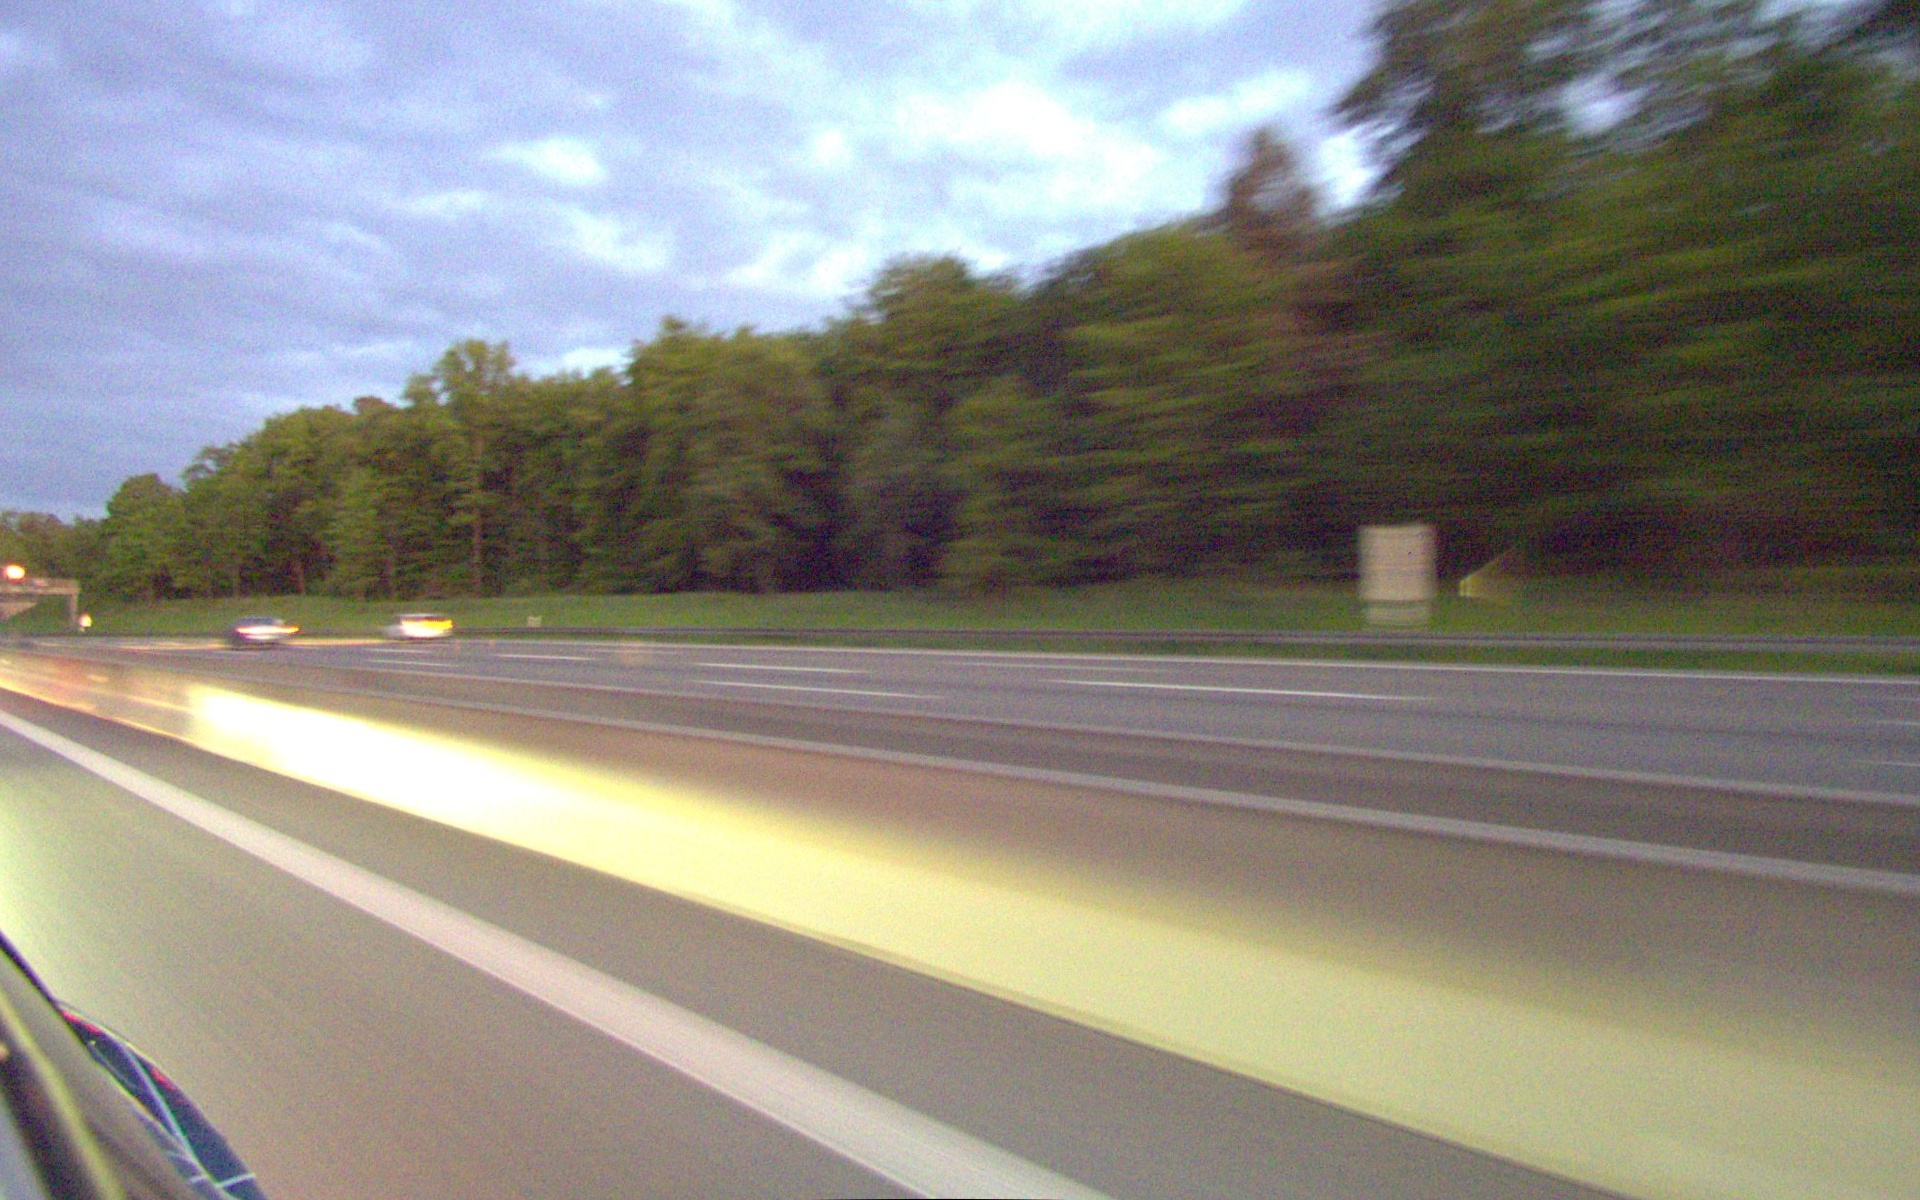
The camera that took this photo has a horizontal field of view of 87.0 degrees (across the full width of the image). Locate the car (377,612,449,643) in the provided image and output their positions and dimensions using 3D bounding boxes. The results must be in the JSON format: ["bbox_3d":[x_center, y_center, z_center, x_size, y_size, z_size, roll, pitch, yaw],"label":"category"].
[{"bbox_3d":[-28.010,1.434,51.802,3.995,1.474,1.824,-2,0,39],"label":"car"}]

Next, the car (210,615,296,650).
[{"bbox_3d":[-32.352,1.511,46.264,4.768,1.474,1.825,-2,0,37],"label":"car"}]
